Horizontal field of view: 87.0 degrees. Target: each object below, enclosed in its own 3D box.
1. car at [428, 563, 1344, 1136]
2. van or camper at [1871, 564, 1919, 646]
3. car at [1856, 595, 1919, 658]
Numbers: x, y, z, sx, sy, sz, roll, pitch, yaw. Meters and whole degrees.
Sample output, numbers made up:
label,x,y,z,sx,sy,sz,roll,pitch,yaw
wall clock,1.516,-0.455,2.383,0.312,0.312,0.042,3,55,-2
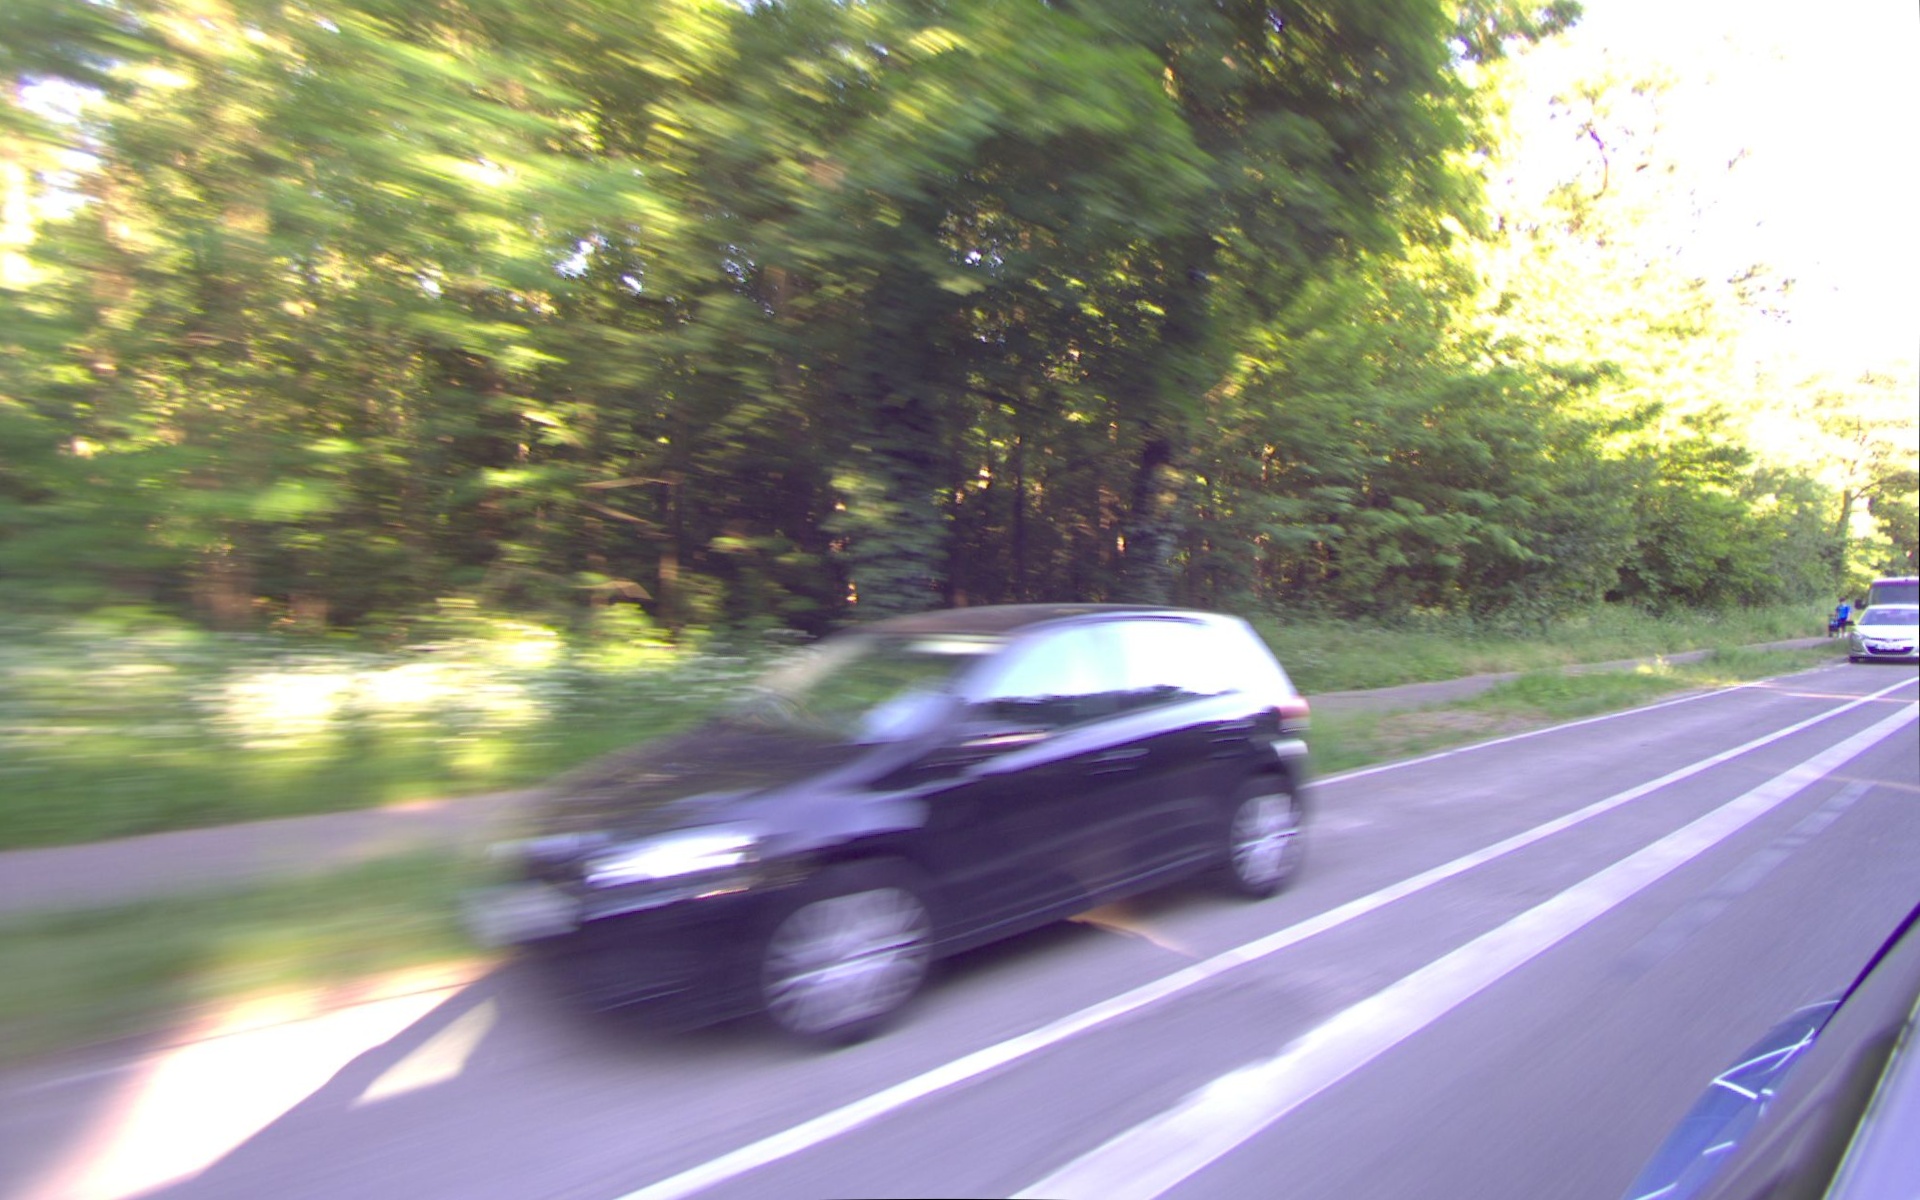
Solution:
label,x,y,z,sx,sy,sz,roll,pitch,yaw
car,-0.033,0.666,4.717,4.077,1.543,1.693,0,0,-41
van or camper,30.013,0.151,31.330,5.937,2.341,2.038,0,2,-42
car,24.796,0.649,26.378,3.933,1.535,1.748,0,-2,-43
